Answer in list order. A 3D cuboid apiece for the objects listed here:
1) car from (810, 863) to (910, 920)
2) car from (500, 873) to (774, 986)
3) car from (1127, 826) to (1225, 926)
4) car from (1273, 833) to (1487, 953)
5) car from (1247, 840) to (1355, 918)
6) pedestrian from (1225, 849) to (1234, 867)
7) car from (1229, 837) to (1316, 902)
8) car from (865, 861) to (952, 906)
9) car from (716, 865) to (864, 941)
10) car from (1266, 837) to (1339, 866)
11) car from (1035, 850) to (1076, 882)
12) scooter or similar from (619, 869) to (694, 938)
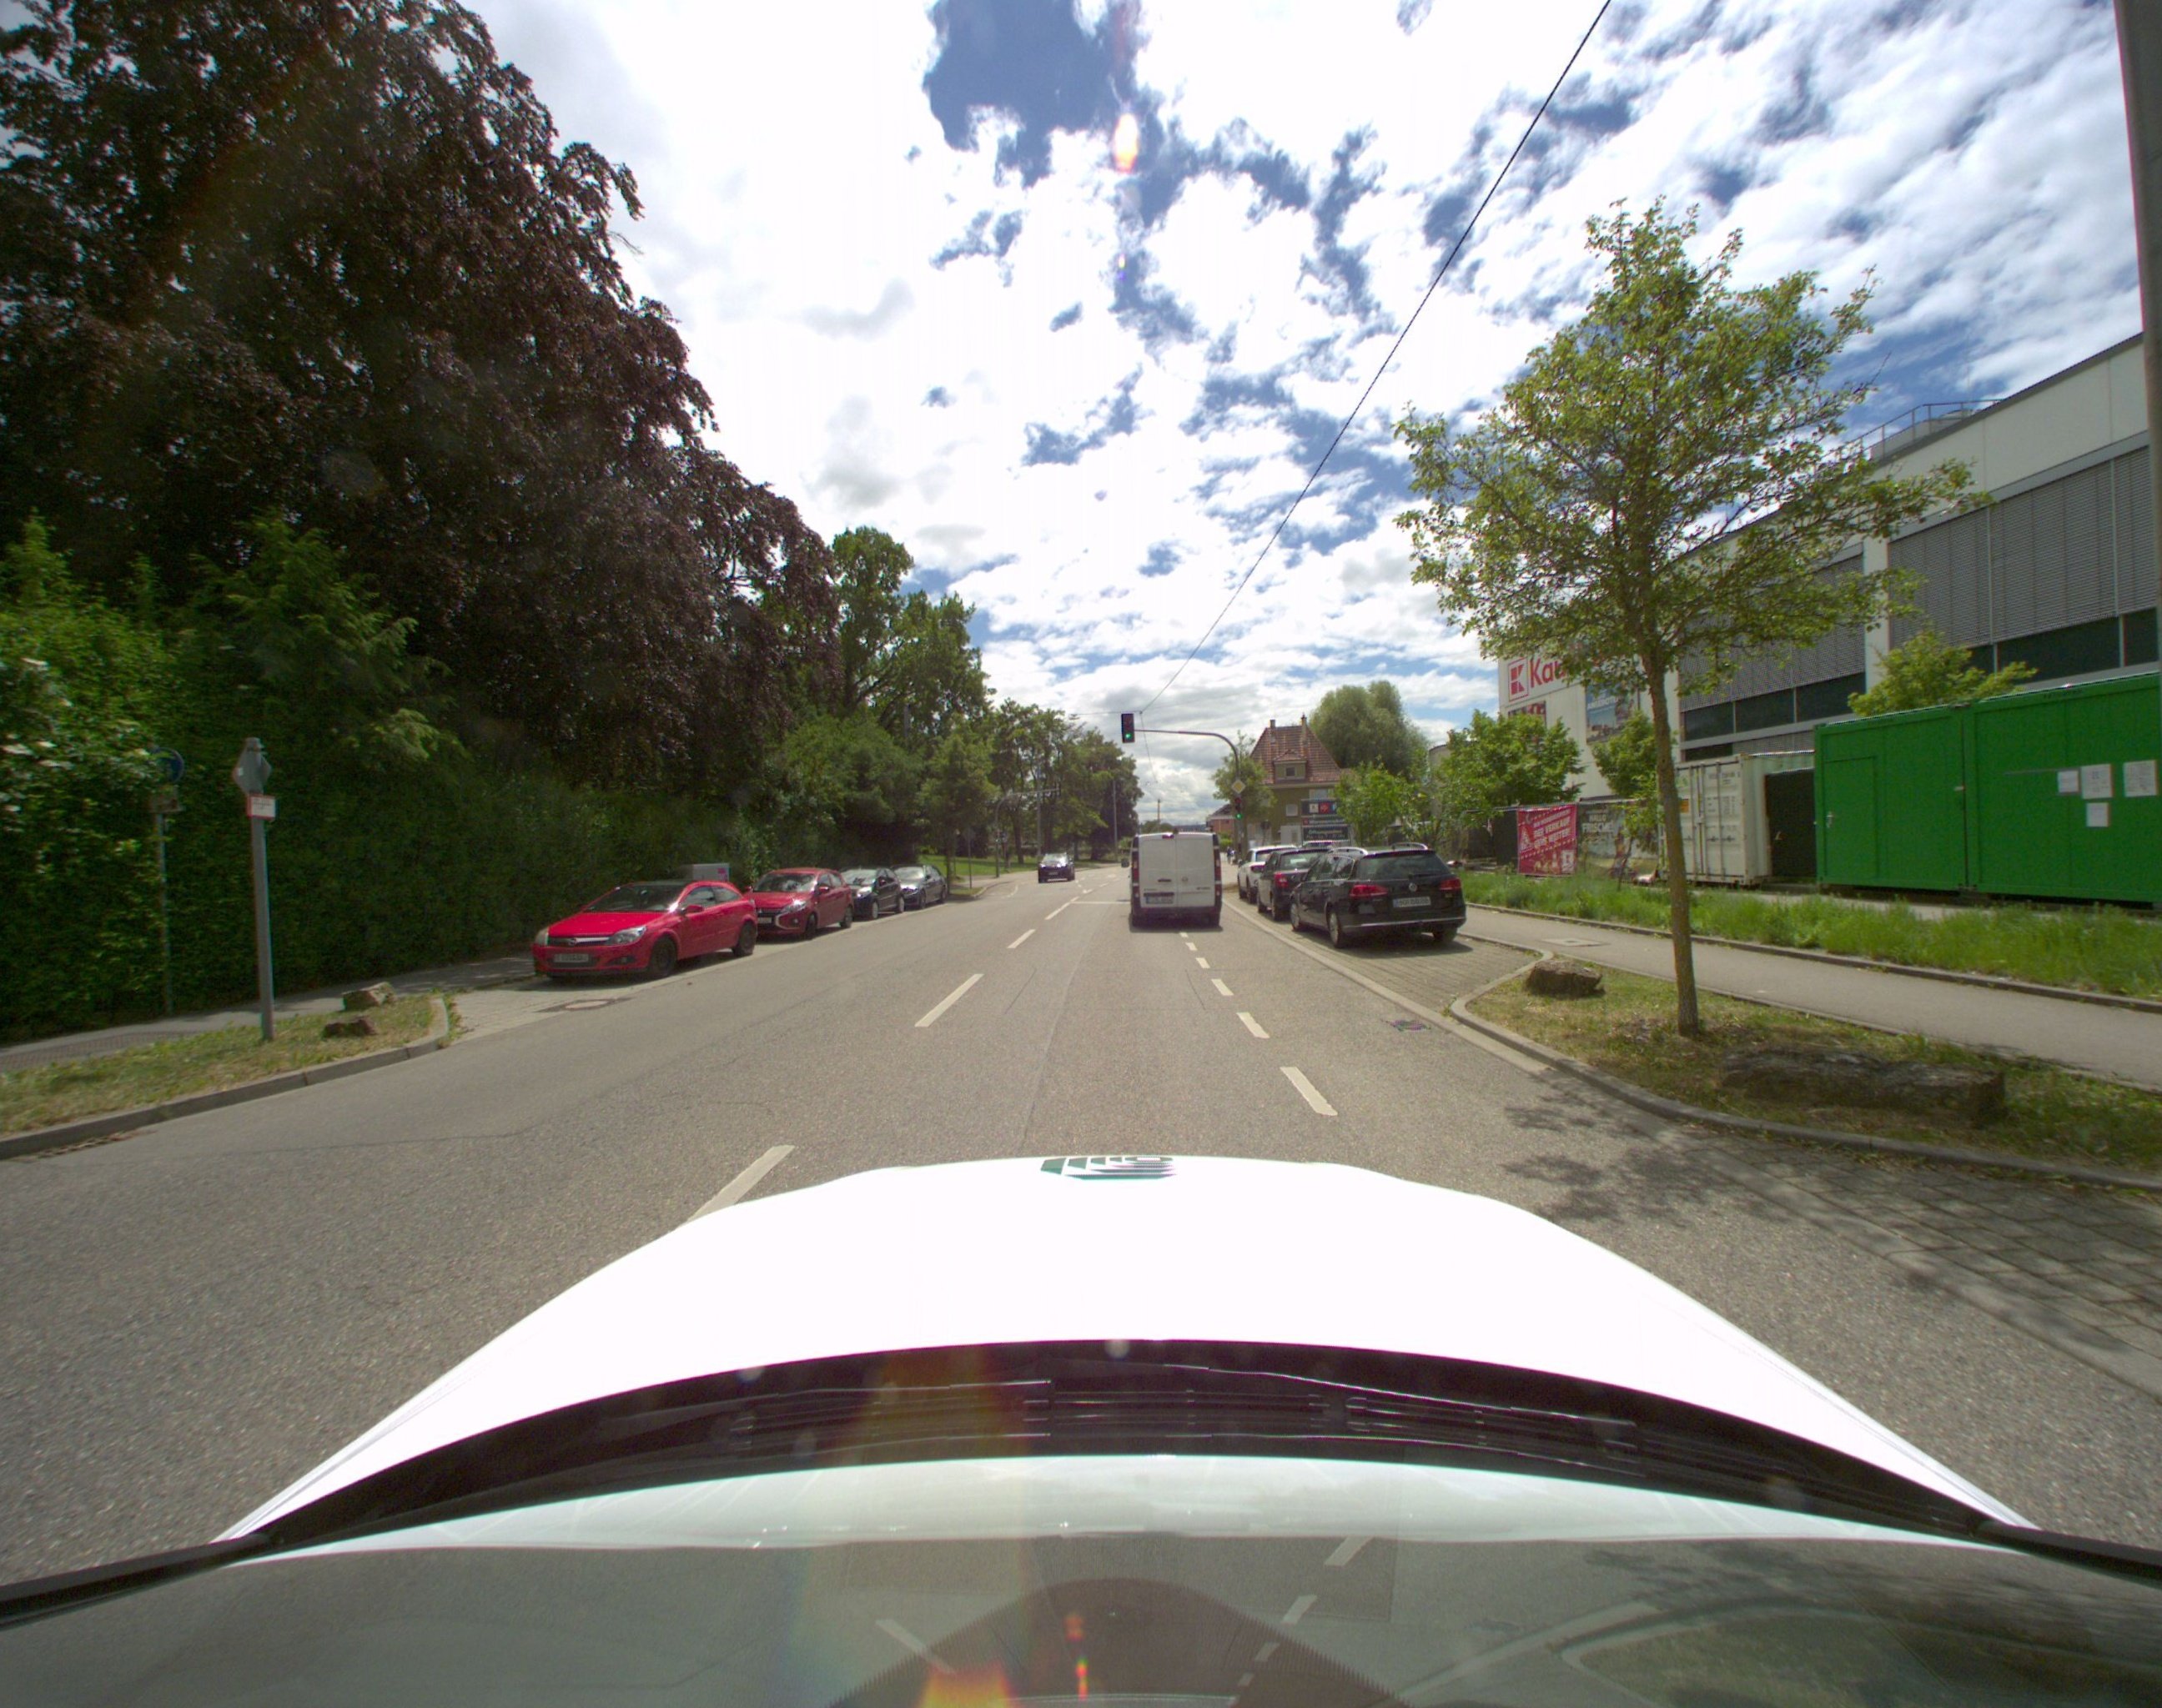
[{"bbox_3d":[-6.229,1.011,23.339,1.588,1.450,3.601,-1,0,5],"label":"car"},{"bbox_3d":[-6.806,1.070,13.169,1.653,1.378,4.571,-1,0,4],"label":"car"},{"bbox_3d":[2.031,0.433,18.602,1.930,1.960,4.837,0,0,3],"label":"car"},{"bbox_3d":[4.634,0.539,13.507,1.758,1.477,4.938,-5,0,2],"label":"car"},{"bbox_3d":[4.872,0.513,18.533,1.561,1.493,4.005,-3,0,4],"label":"car"},{"bbox_3d":[13.603,0.351,74.583,0.674,1.553,0.837,-4,-3,10],"label":"pedestrian"},{"bbox_3d":[5.555,0.424,24.134,1.729,1.616,4.391,-5,0,4],"label":"car"},{"bbox_3d":[-5.727,0.932,27.629,1.687,1.365,4.690,-1,0,3],"label":"car"},{"bbox_3d":[-6.420,1.008,18.467,1.642,1.450,4.108,-1,0,3],"label":"car"},{"bbox_3d":[13.149,-0.177,48.480,3.965,1.606,1.612,-1,0,7],"label":"car"},{"bbox_3d":[-1.422,0.645,46.821,1.825,1.616,4.157,-4,0,4],"label":"car"},{"bbox_3d":[-9.484,1.074,18.259,0.667,1.412,1.651,-1,0,5],"label":"scooter or similar"}]
